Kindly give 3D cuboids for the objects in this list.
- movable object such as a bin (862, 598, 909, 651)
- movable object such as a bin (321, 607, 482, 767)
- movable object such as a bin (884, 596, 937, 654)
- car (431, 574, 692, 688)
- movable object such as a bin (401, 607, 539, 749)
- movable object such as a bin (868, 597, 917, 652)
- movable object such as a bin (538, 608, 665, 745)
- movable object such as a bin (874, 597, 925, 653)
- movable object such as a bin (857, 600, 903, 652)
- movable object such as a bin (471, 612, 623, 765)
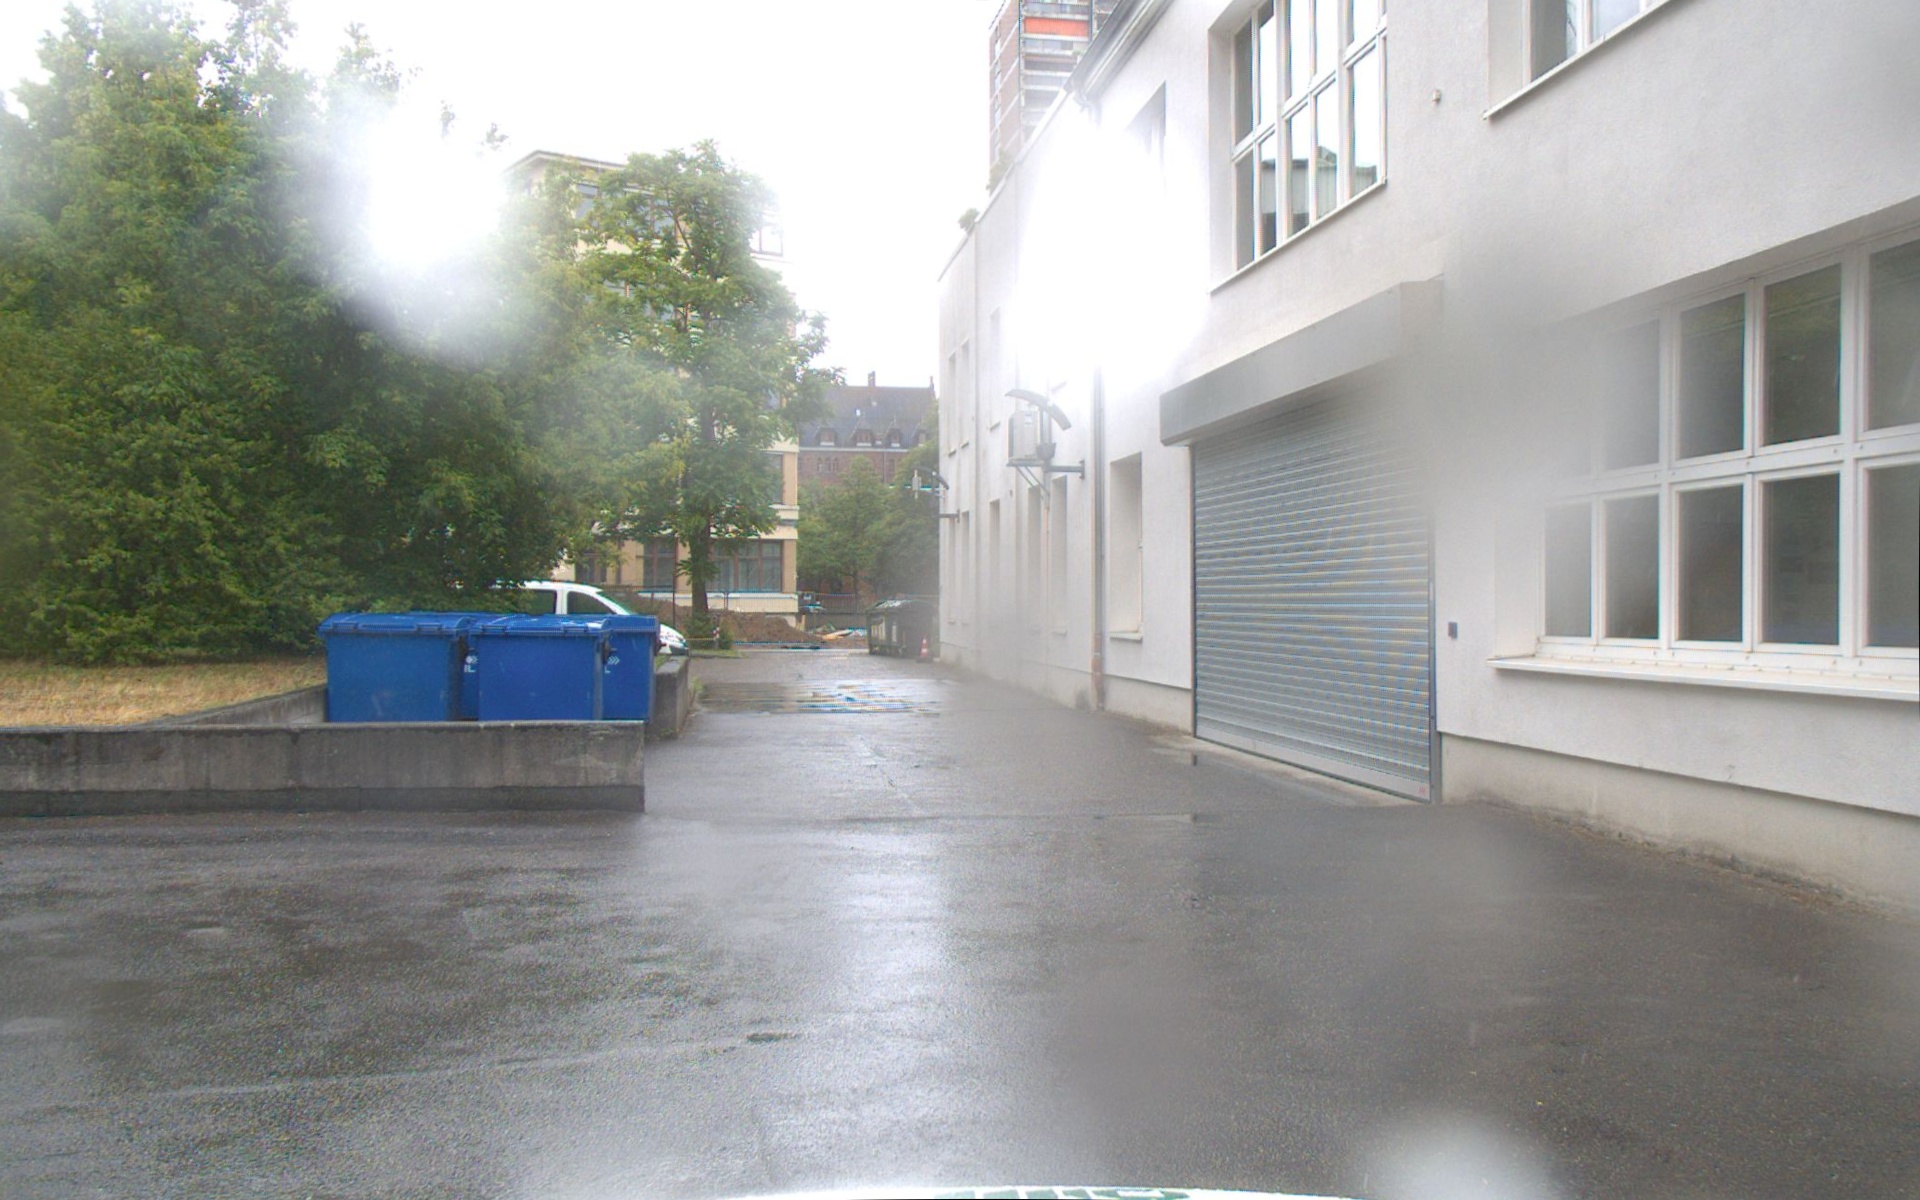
[{"bbox_3d":[-2.138,0.714,47.128,1.192,1.462,1.256,0,-2,-10],"label":"movable object such as a bin"},{"bbox_3d":[-5.103,0.774,15.196,1.180,1.360,1.115,1,1,-8],"label":"movable object such as a bin"},{"bbox_3d":[-1.277,0.651,42.421,1.192,1.462,1.232,0,-2,-10],"label":"movable object such as a bin"},{"bbox_3d":[-7.644,0.562,32.131,4.690,2.049,1.997,-1,0,-8],"label":"car"},{"bbox_3d":[-4.975,0.771,16.873,1.198,1.360,1.005,0,1,-8],"label":"movable object such as a bin"},{"bbox_3d":[-1.881,0.694,45.778,1.192,1.494,1.232,0,-2,-10],"label":"movable object such as a bin"},{"bbox_3d":[-3.705,0.773,17.186,1.198,1.360,1.005,0,0,-8],"label":"movable object such as a bin"},{"bbox_3d":[-1.630,0.671,44.171,1.192,1.462,1.291,0,-2,-10],"label":"movable object such as a bin"},{"bbox_3d":[-2.356,0.769,48.486,1.192,1.462,1.256,0,-2,-10],"label":"movable object such as a bin"},{"bbox_3d":[-3.822,0.800,15.414,1.179,1.360,1.116,0,-1,-4],"label":"movable object such as a bin"}]
